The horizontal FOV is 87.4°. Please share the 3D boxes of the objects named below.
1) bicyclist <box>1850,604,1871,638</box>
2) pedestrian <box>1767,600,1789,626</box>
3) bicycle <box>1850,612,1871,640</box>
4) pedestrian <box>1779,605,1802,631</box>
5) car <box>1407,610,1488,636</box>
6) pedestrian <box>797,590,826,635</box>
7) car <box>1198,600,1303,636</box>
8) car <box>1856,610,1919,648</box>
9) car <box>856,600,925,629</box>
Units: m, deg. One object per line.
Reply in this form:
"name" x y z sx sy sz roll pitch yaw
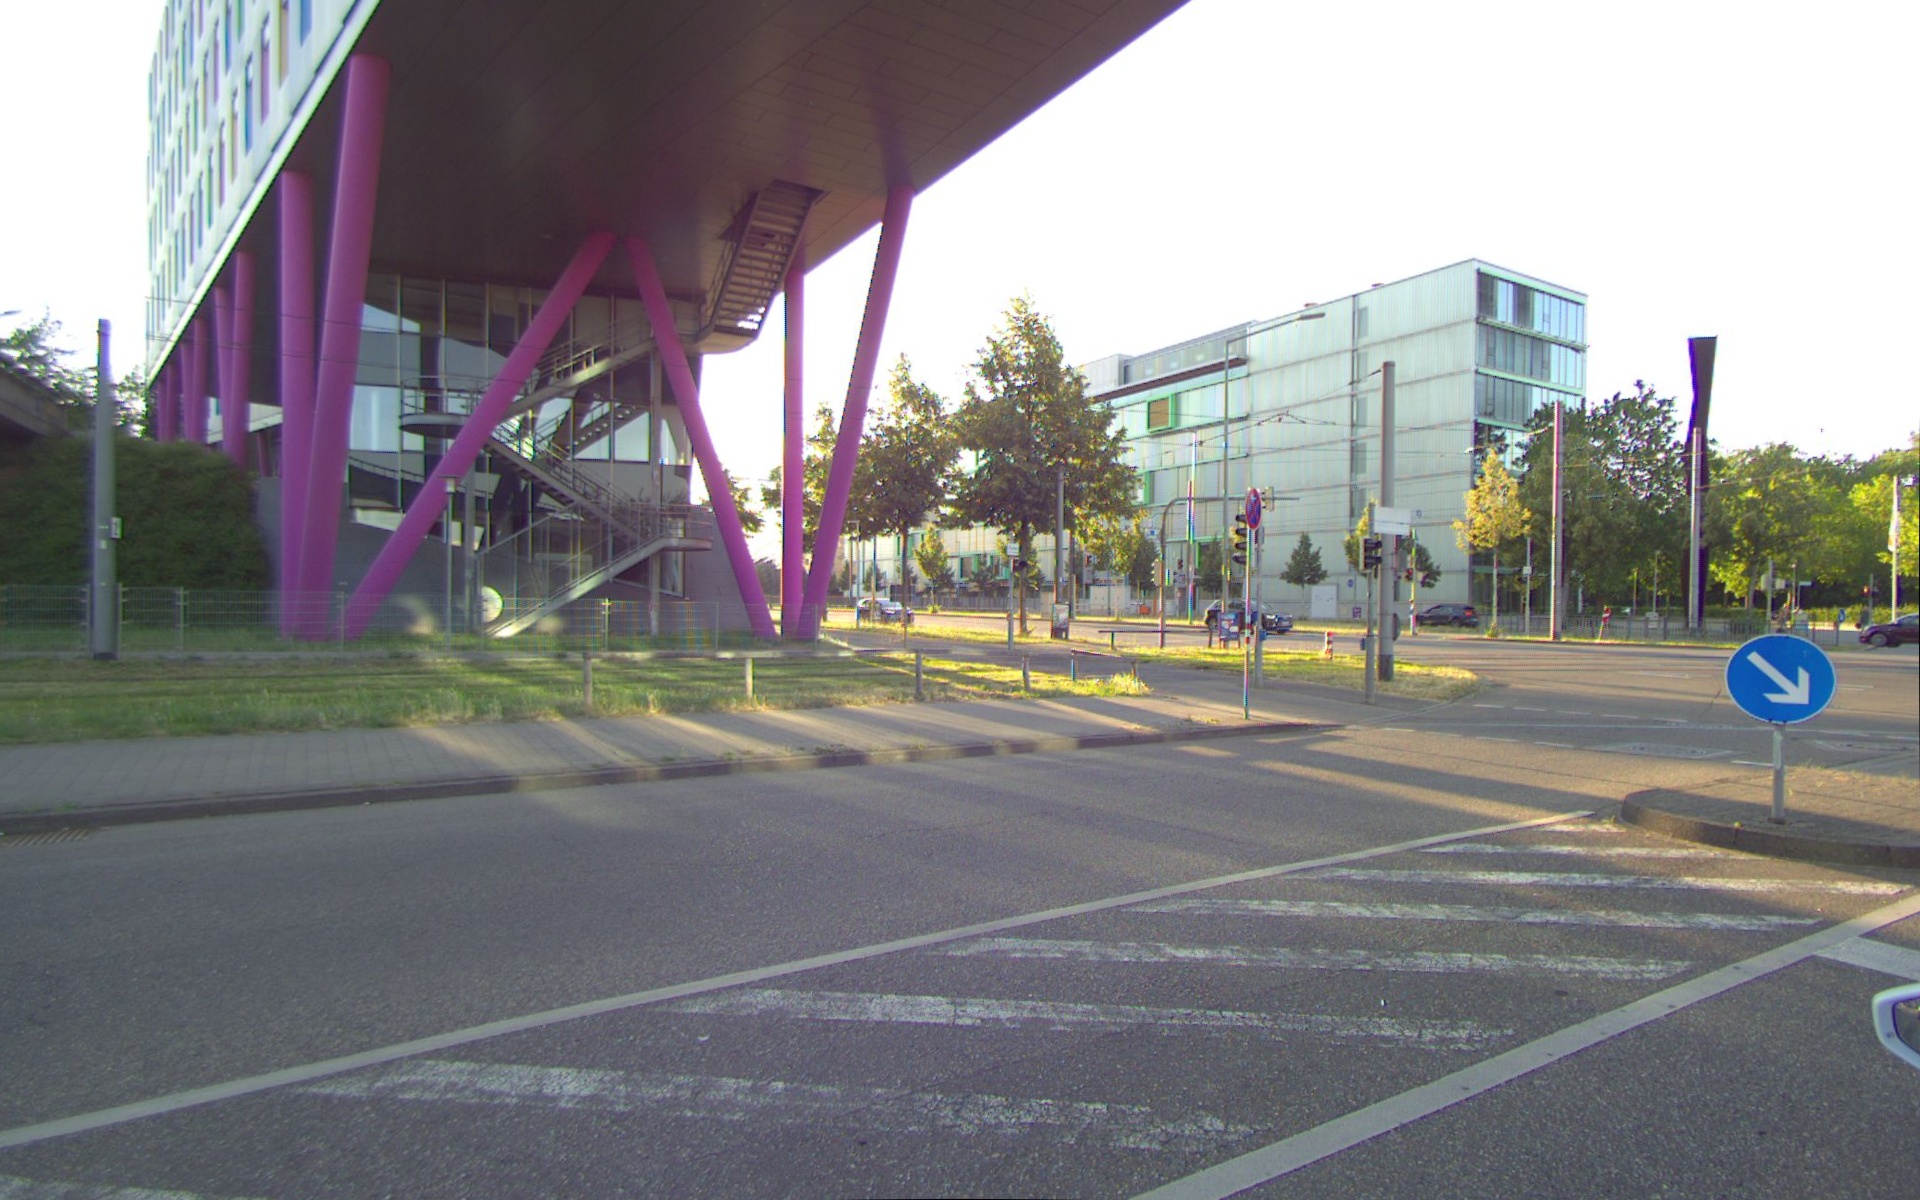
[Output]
"bicyclist" 46.032 1.055 51.326 0.743 1.732 0.914 1 0 44
"pedestrian" 57.320 0.906 70.363 0.814 1.767 0.863 1 0 2
"bicycle" 46.039 1.326 51.344 0.722 1.359 2.674 1 0 44
"pedestrian" 58.219 1.246 70.412 0.814 1.767 0.863 1 0 0
"car" 30.357 1.406 62.686 1.782 1.516 4.314 2 -1 -28
"pedestrian" -5.876 0.488 39.697 0.920 1.747 0.878 1 -2 -24
"car" 13.303 0.799 46.204 1.968 1.577 4.448 1 0 -34
"car" 39.917 1.244 41.302 1.785 1.516 4.306 2 -1 -33
"car" -4.119 0.822 59.008 1.978 1.636 4.880 1 0 -32
